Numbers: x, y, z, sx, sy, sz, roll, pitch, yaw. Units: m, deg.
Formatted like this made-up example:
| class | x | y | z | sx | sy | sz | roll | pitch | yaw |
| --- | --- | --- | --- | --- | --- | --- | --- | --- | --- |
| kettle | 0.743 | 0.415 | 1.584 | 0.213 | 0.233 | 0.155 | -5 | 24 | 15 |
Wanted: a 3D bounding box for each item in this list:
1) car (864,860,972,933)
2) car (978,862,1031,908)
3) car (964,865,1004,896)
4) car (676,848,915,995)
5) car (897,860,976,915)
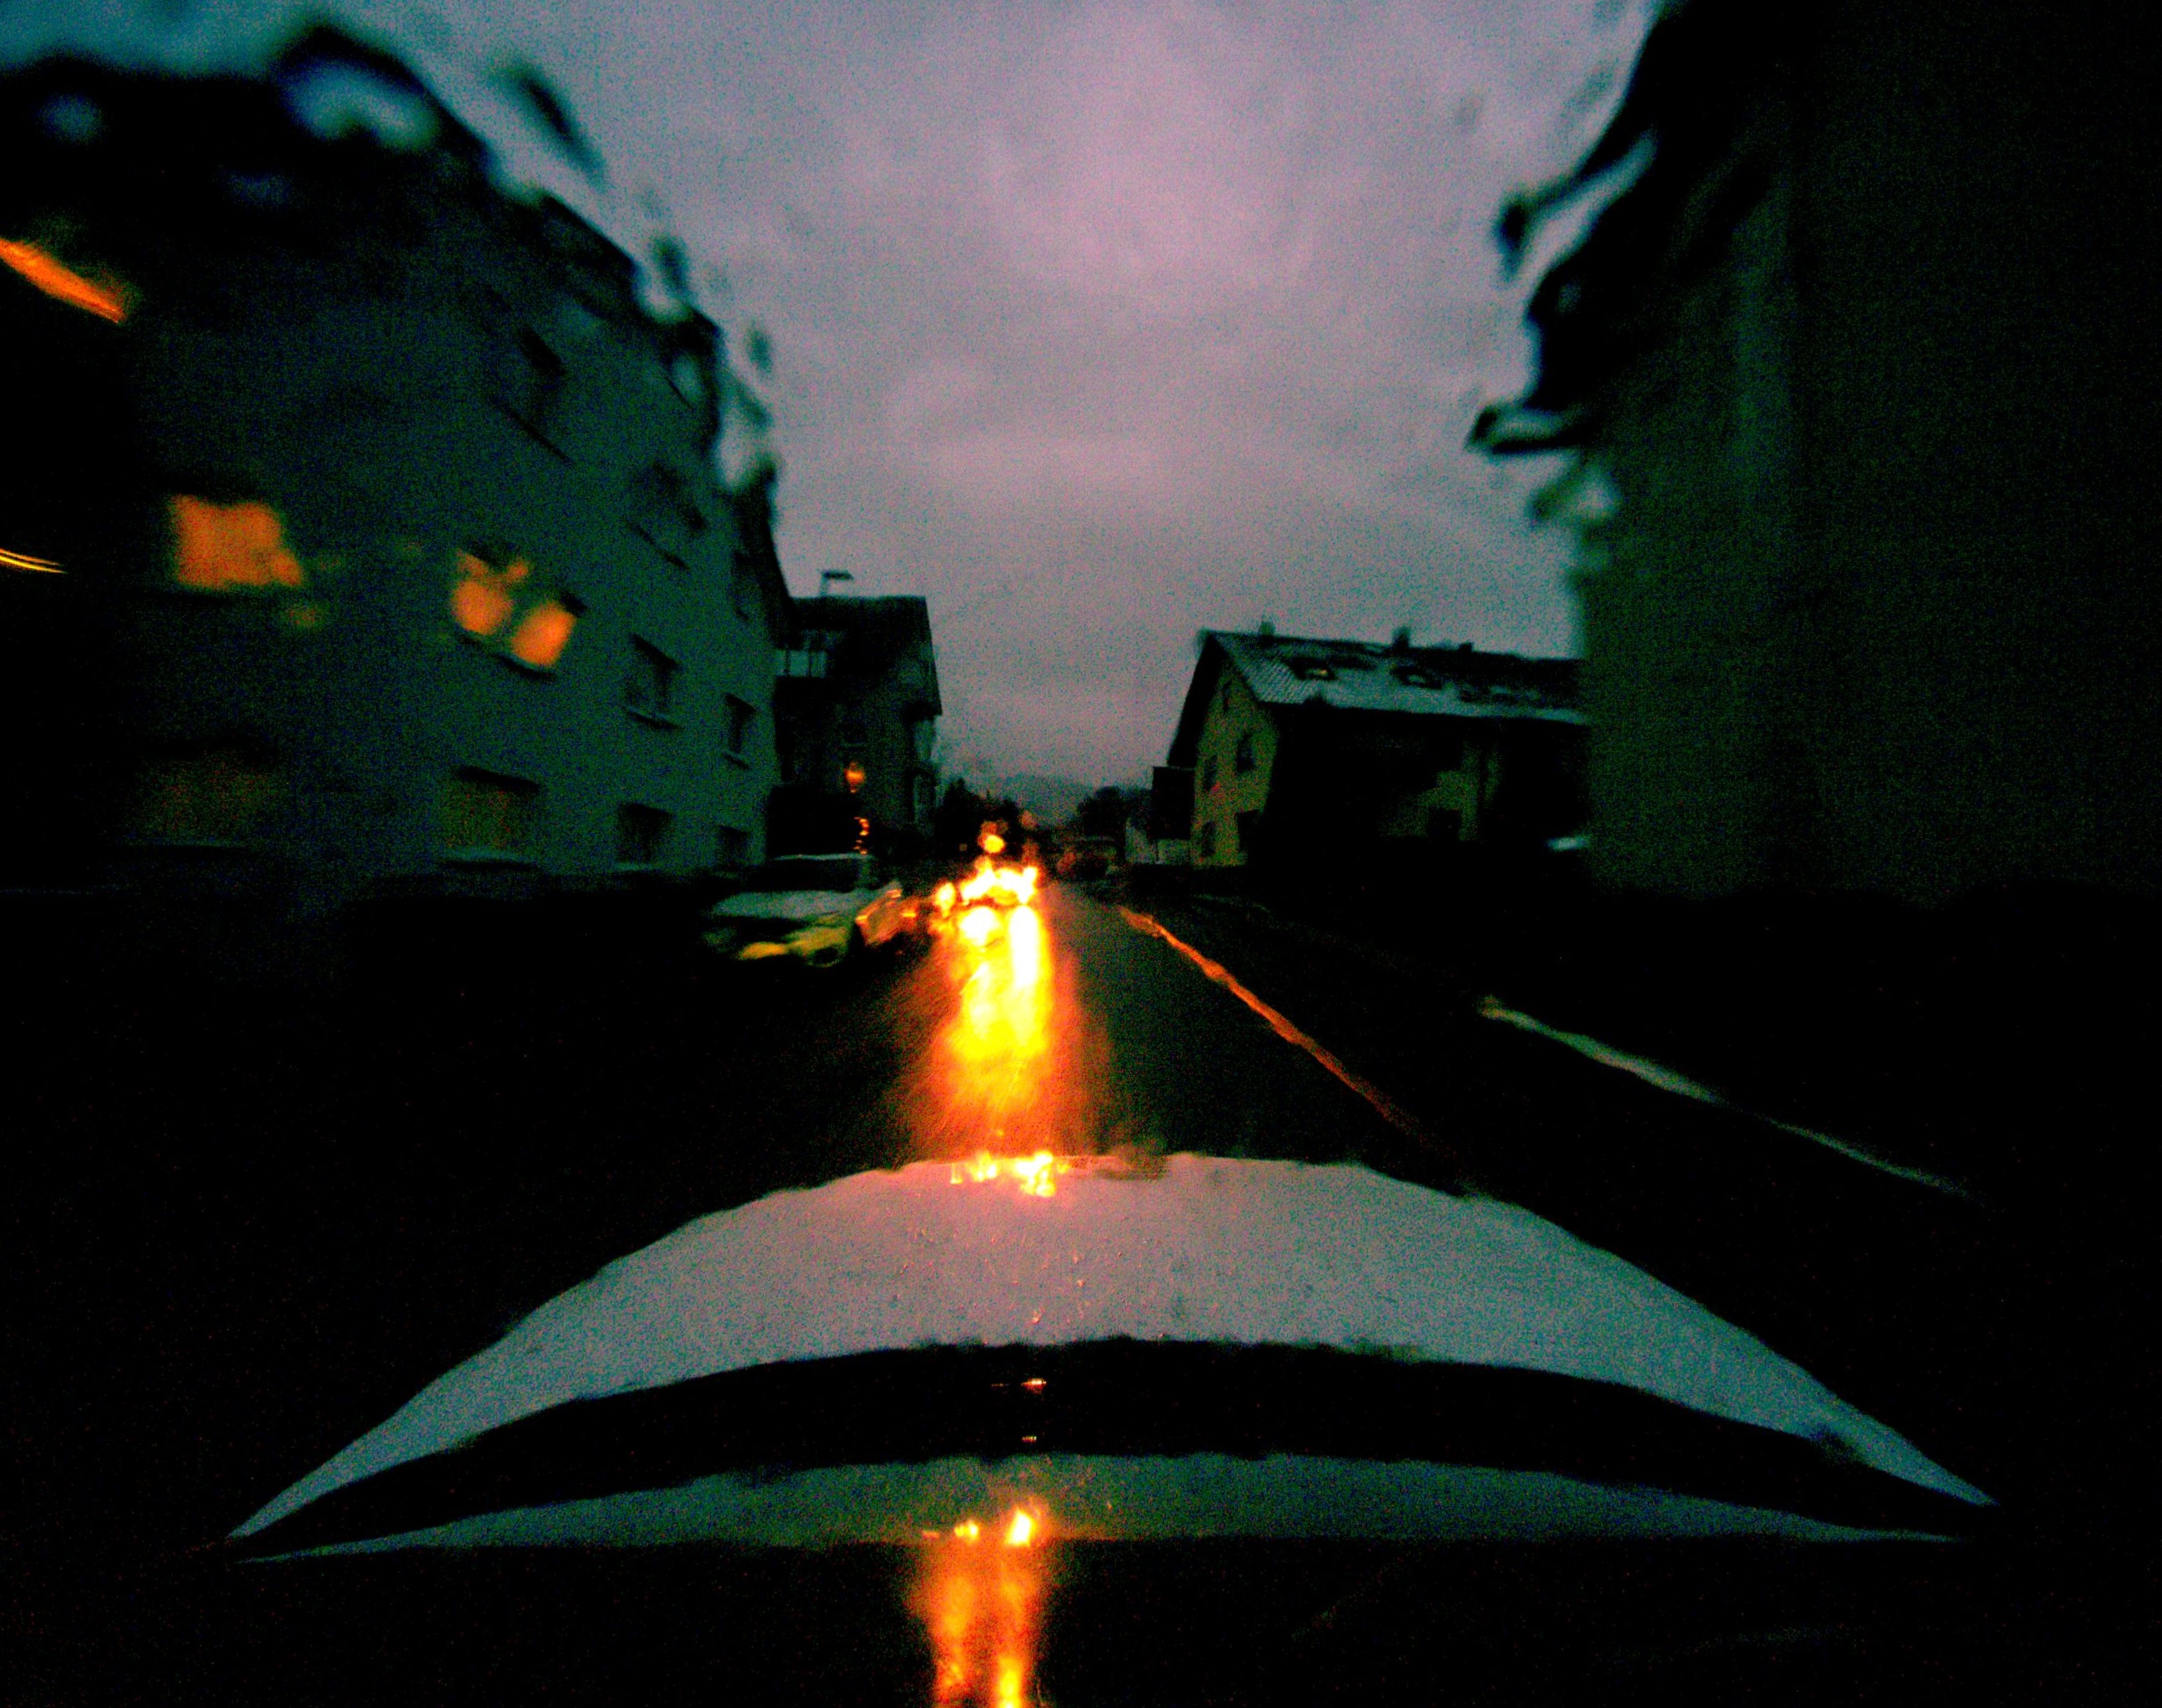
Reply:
| class | x | y | z | sx | sy | sz | roll | pitch | yaw |
| --- | --- | --- | --- | --- | --- | --- | --- | --- | --- |
| car | -3.511 | 0.860 | 18.241 | 1.729 | 1.436 | 4.031 | 0 | -1 | -2 |
| car | -2.836 | 1.067 | 29.594 | 1.772 | 1.495 | 4.369 | 0 | 0 | -7 |
| car | -4.767 | 1.289 | 40.485 | 1.661 | 1.418 | 3.686 | 2 | -1 | -3 |
| car | -3.657 | 0.770 | 11.362 | 1.913 | 1.624 | 4.419 | 0 | -1 | -2 |
| car | -4.081 | 0.912 | 23.650 | 1.730 | 1.444 | 4.433 | 0 | -1 | -4 |
